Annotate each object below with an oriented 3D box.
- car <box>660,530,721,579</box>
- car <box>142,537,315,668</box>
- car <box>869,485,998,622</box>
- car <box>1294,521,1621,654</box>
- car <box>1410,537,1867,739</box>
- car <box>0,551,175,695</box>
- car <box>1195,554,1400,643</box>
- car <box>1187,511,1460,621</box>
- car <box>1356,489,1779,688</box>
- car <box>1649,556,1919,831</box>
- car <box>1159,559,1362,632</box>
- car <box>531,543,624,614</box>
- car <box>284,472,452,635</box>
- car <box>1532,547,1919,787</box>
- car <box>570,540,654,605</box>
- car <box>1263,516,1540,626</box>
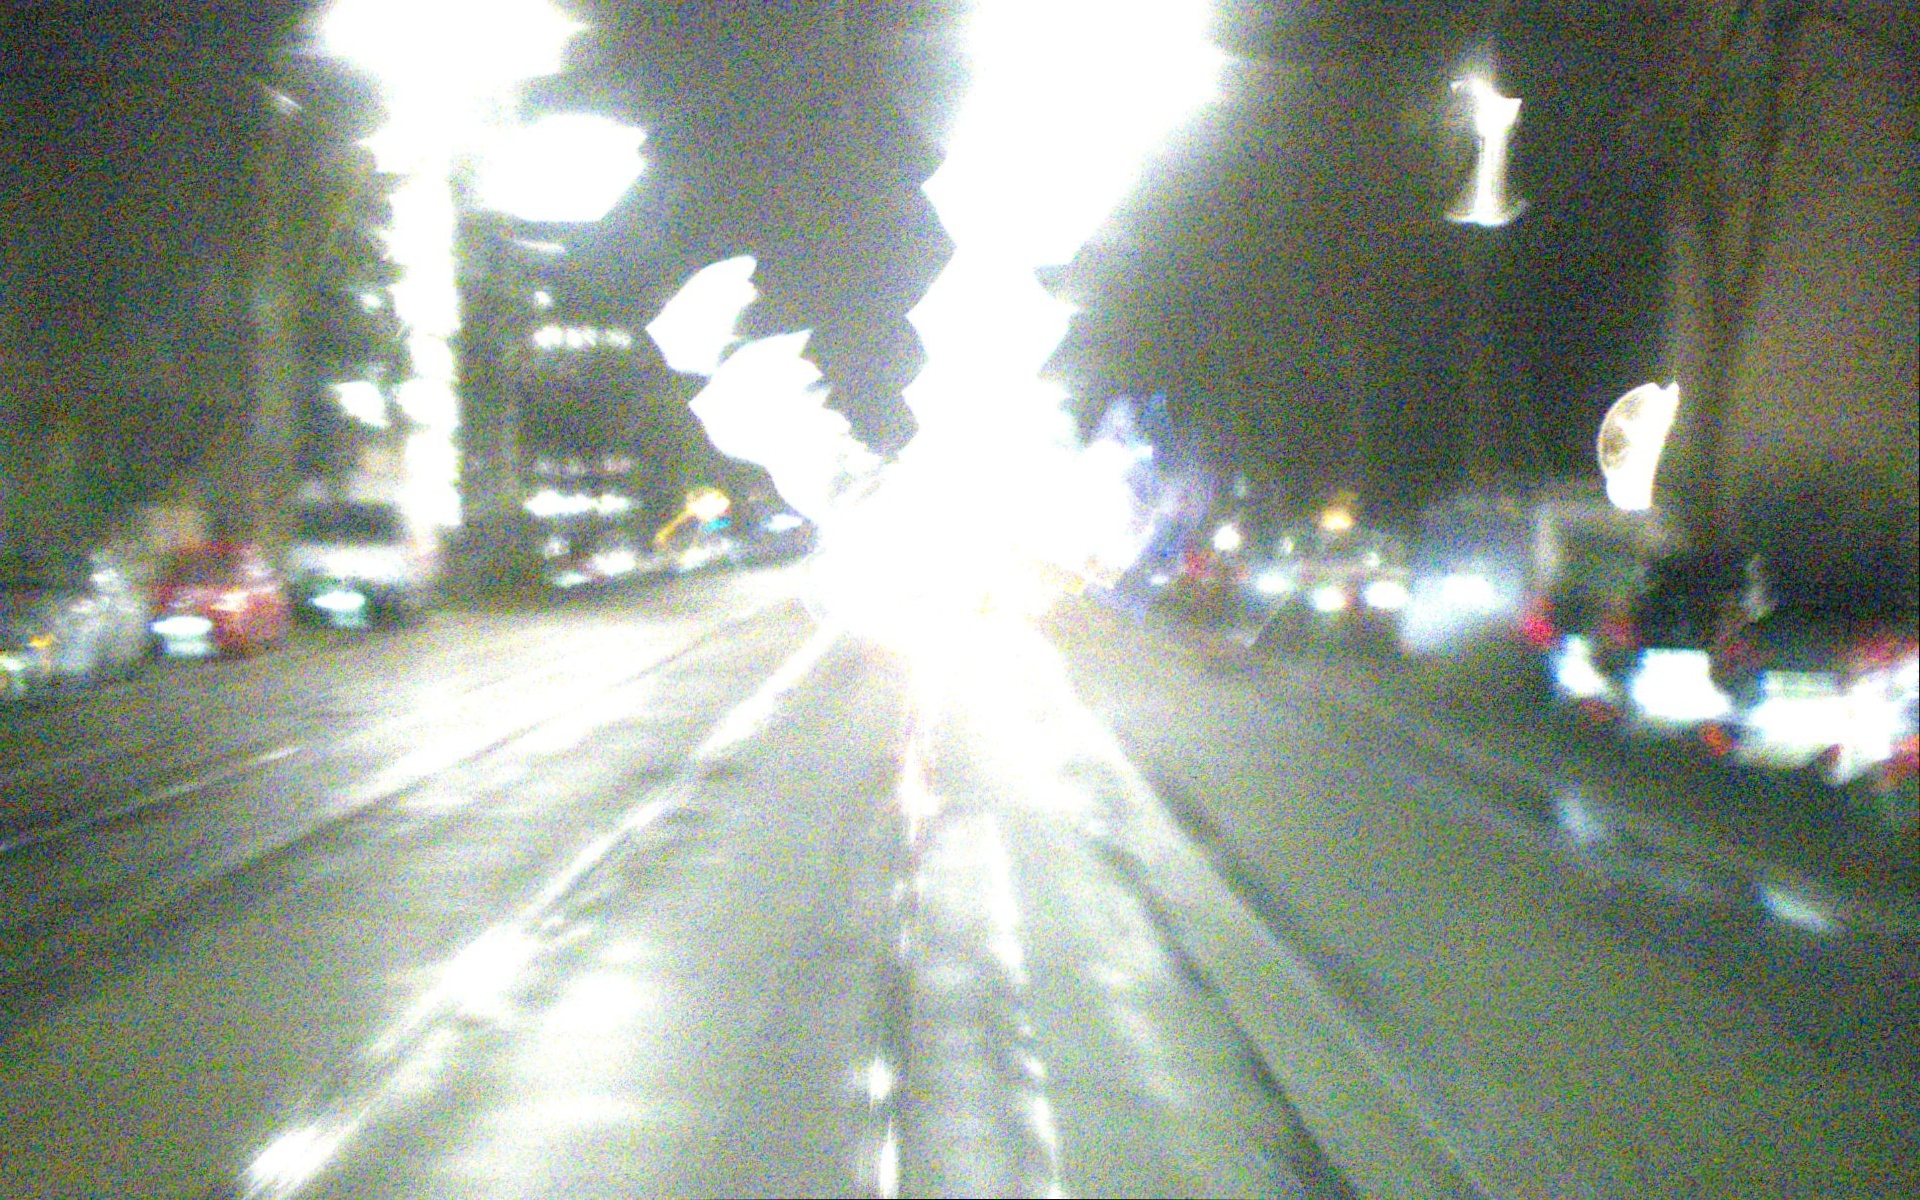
[{"bbox_3d":[-10.225,-1.720,130.769,2.022,1.755,4.000,2,0,-1],"label":"car"},{"bbox_3d":[-9.515,-0.002,44.916,1.641,1.502,3.620,1,3,-3],"label":"car"},{"bbox_3d":[-0.547,-0.877,64.330,2.216,2.433,5.385,1,1,-2],"label":"car"},{"bbox_3d":[5.955,-0.190,40.779,1.691,1.399,4.447,2,3,41],"label":"car"},{"bbox_3d":[5.347,0.283,26.841,3.825,1.433,1.599,1,1,-45],"label":"car"},{"bbox_3d":[-9.569,0.205,36.681,1.609,1.423,3.809,1,1,-2],"label":"car"},{"bbox_3d":[6.564,-0.017,66.599,2.054,1.618,3.819,2,1,41],"label":"car"},{"bbox_3d":[5.356,-0.493,50.419,3.878,1.528,1.821,0,2,-42],"label":"car"},{"bbox_3d":[6.132,-0.107,34.478,4.162,1.833,1.962,1,2,-42],"label":"car"},{"bbox_3d":[5.998,0.516,20.539,3.779,1.453,1.769,1,1,-43],"label":"car"},{"bbox_3d":[6.387,-0.092,72.719,4.237,1.449,1.950,1,1,-44],"label":"car"},{"bbox_3d":[-10.122,-0.567,91.265,2.108,1.758,4.966,2,0,-3],"label":"car"},{"bbox_3d":[-9.752,-0.800,57.030,2.024,2.490,5.609,2,1,-3],"label":"car"},{"bbox_3d":[5.721,0.386,23.443,1.806,1.483,3.846,1,1,42],"label":"car"},{"bbox_3d":[-10.059,-0.801,99.651,1.999,1.779,4.000,2,0,-1],"label":"car"},{"bbox_3d":[6.139,-0.390,47.591,1.820,1.428,3.846,2,1,44],"label":"car"}]
